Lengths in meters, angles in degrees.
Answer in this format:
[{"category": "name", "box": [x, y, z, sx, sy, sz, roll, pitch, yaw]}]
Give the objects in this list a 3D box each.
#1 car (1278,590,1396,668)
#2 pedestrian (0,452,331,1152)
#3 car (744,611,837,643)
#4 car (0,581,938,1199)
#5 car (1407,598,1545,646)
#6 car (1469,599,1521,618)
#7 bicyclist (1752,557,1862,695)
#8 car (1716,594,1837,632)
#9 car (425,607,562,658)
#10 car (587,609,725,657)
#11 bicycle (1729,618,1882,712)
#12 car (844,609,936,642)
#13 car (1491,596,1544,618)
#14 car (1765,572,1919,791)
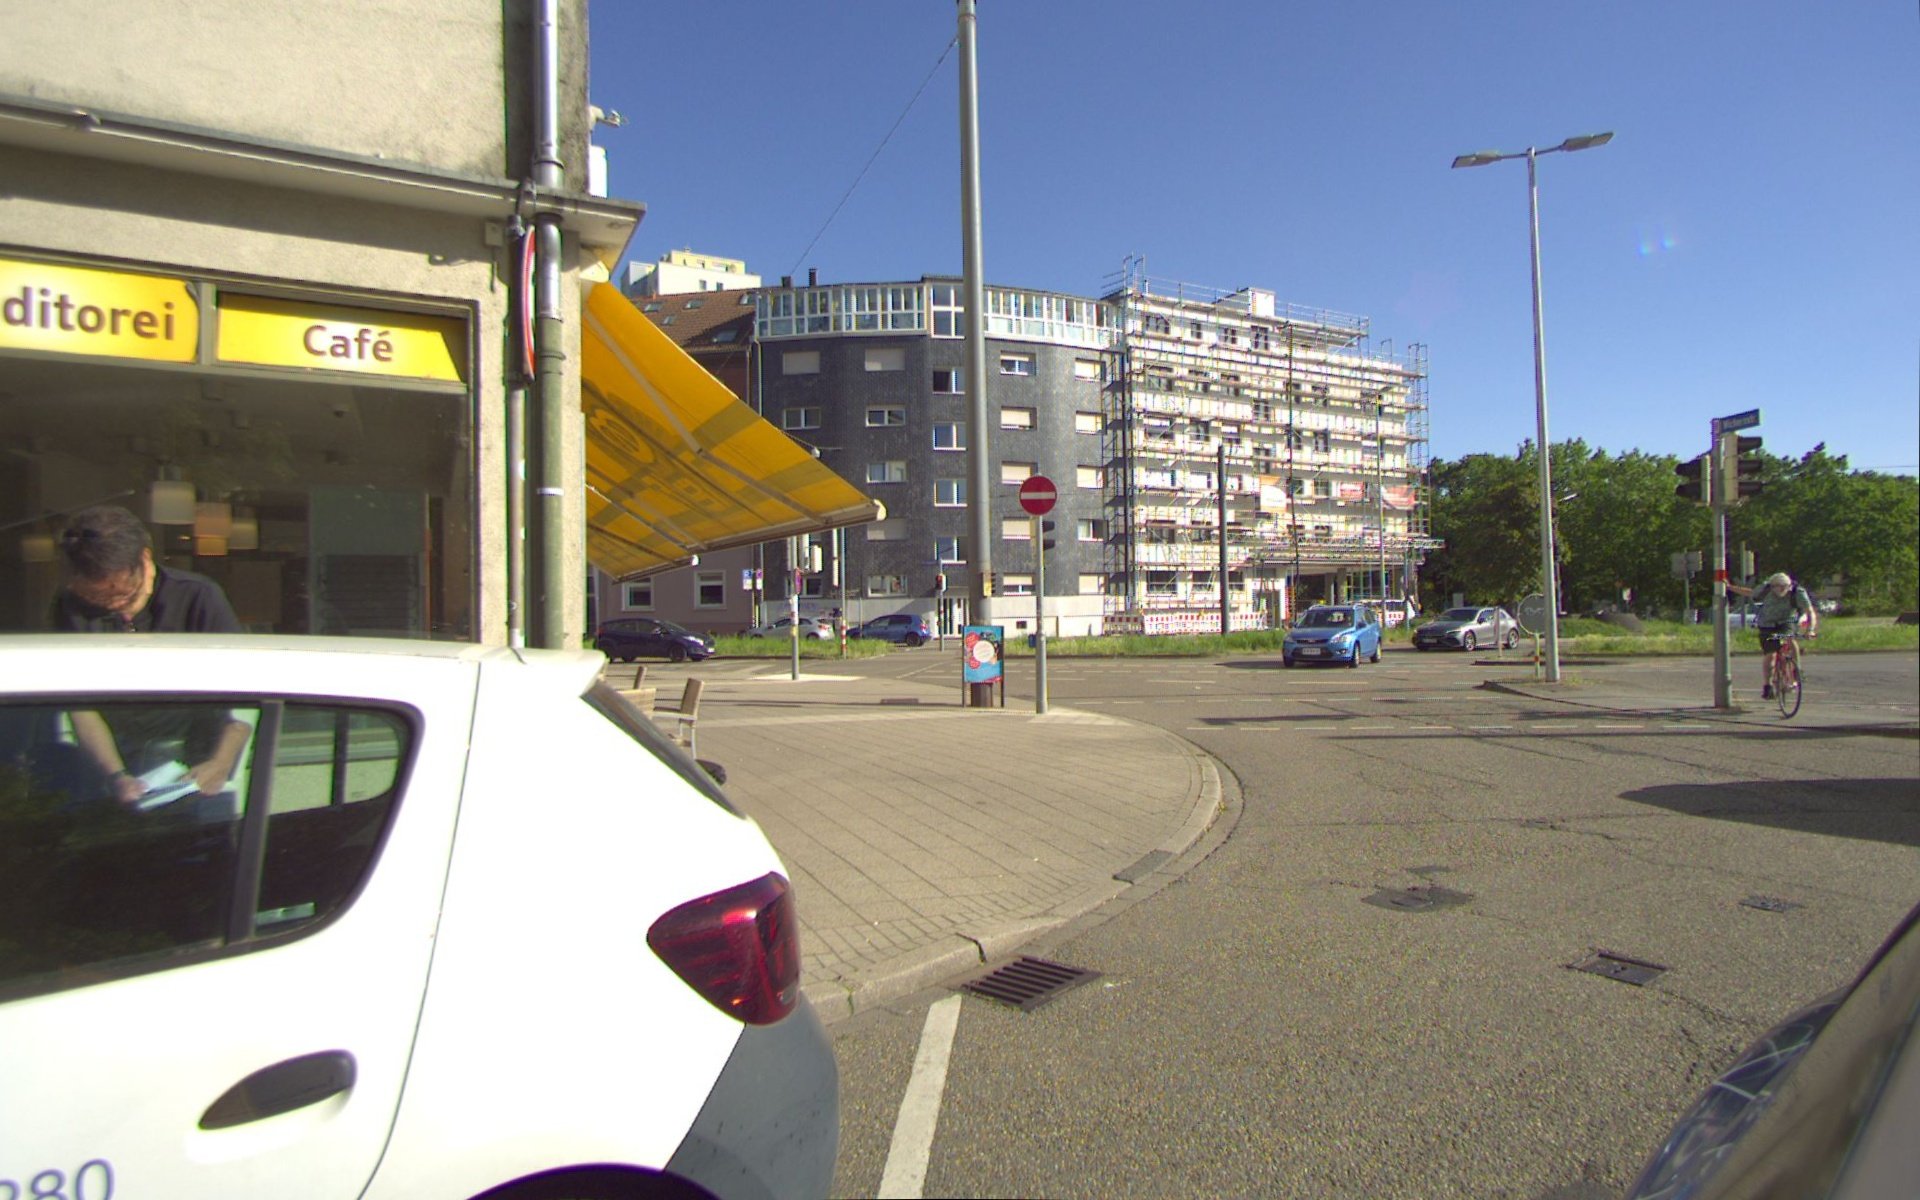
[{"category": "car", "box": [9.666, 0.684, 25.734, 1.860, 1.798, 4.431, -1, -1, 33]}, {"category": "pedestrian", "box": [-2.344, 0.504, 2.963, 0.730, 1.744, 0.763, 0, -1, -22]}, {"category": "car", "box": [-7.803, 1.234, 46.755, 3.934, 1.434, 1.684, -1, -1, 10]}, {"category": "car", "box": [-2.183, 0.755, 1.608, 3.941, 1.516, 1.727, 0, -1, -27]}, {"category": "car", "box": [17.305, 0.701, 33.902, 4.393, 1.474, 1.876, 0, -1, -27]}, {"category": "car", "box": [42.532, 0.682, 80.433, 3.609, 1.412, 1.825, -1, -1, -25]}, {"category": "bicyclist", "box": [10.064, 0.306, 12.055, 0.818, 1.584, 0.591, -1, -1, 22]}, {"category": "car", "box": [33.963, 0.519, 42.112, 4.390, 1.474, 1.877, -1, -1, -20]}, {"category": "car", "box": [-15.371, 1.068, 33.410, 3.937, 1.601, 1.653, -1, -1, 11]}, {"category": "car", "box": [-9.770, 1.072, 32.611, 3.937, 1.472, 1.728, -1, -2, 11]}, {"category": "bicycle", "box": [10.114, 0.741, 12.203, 0.819, 0.999, 1.932, -1, 0, 21]}, {"category": "car", "box": [-3.154, 1.141, 45.942, 3.934, 1.434, 1.684, -1, -1, 10]}, {"category": "car", "box": [43.085, 0.555, 78.212, 3.609, 1.604, 1.825, -1, -1, -25]}, {"category": "car", "box": [8.349, 0.562, 6.576, 1.867, 1.572, 4.489, 0, -1, -29]}]
